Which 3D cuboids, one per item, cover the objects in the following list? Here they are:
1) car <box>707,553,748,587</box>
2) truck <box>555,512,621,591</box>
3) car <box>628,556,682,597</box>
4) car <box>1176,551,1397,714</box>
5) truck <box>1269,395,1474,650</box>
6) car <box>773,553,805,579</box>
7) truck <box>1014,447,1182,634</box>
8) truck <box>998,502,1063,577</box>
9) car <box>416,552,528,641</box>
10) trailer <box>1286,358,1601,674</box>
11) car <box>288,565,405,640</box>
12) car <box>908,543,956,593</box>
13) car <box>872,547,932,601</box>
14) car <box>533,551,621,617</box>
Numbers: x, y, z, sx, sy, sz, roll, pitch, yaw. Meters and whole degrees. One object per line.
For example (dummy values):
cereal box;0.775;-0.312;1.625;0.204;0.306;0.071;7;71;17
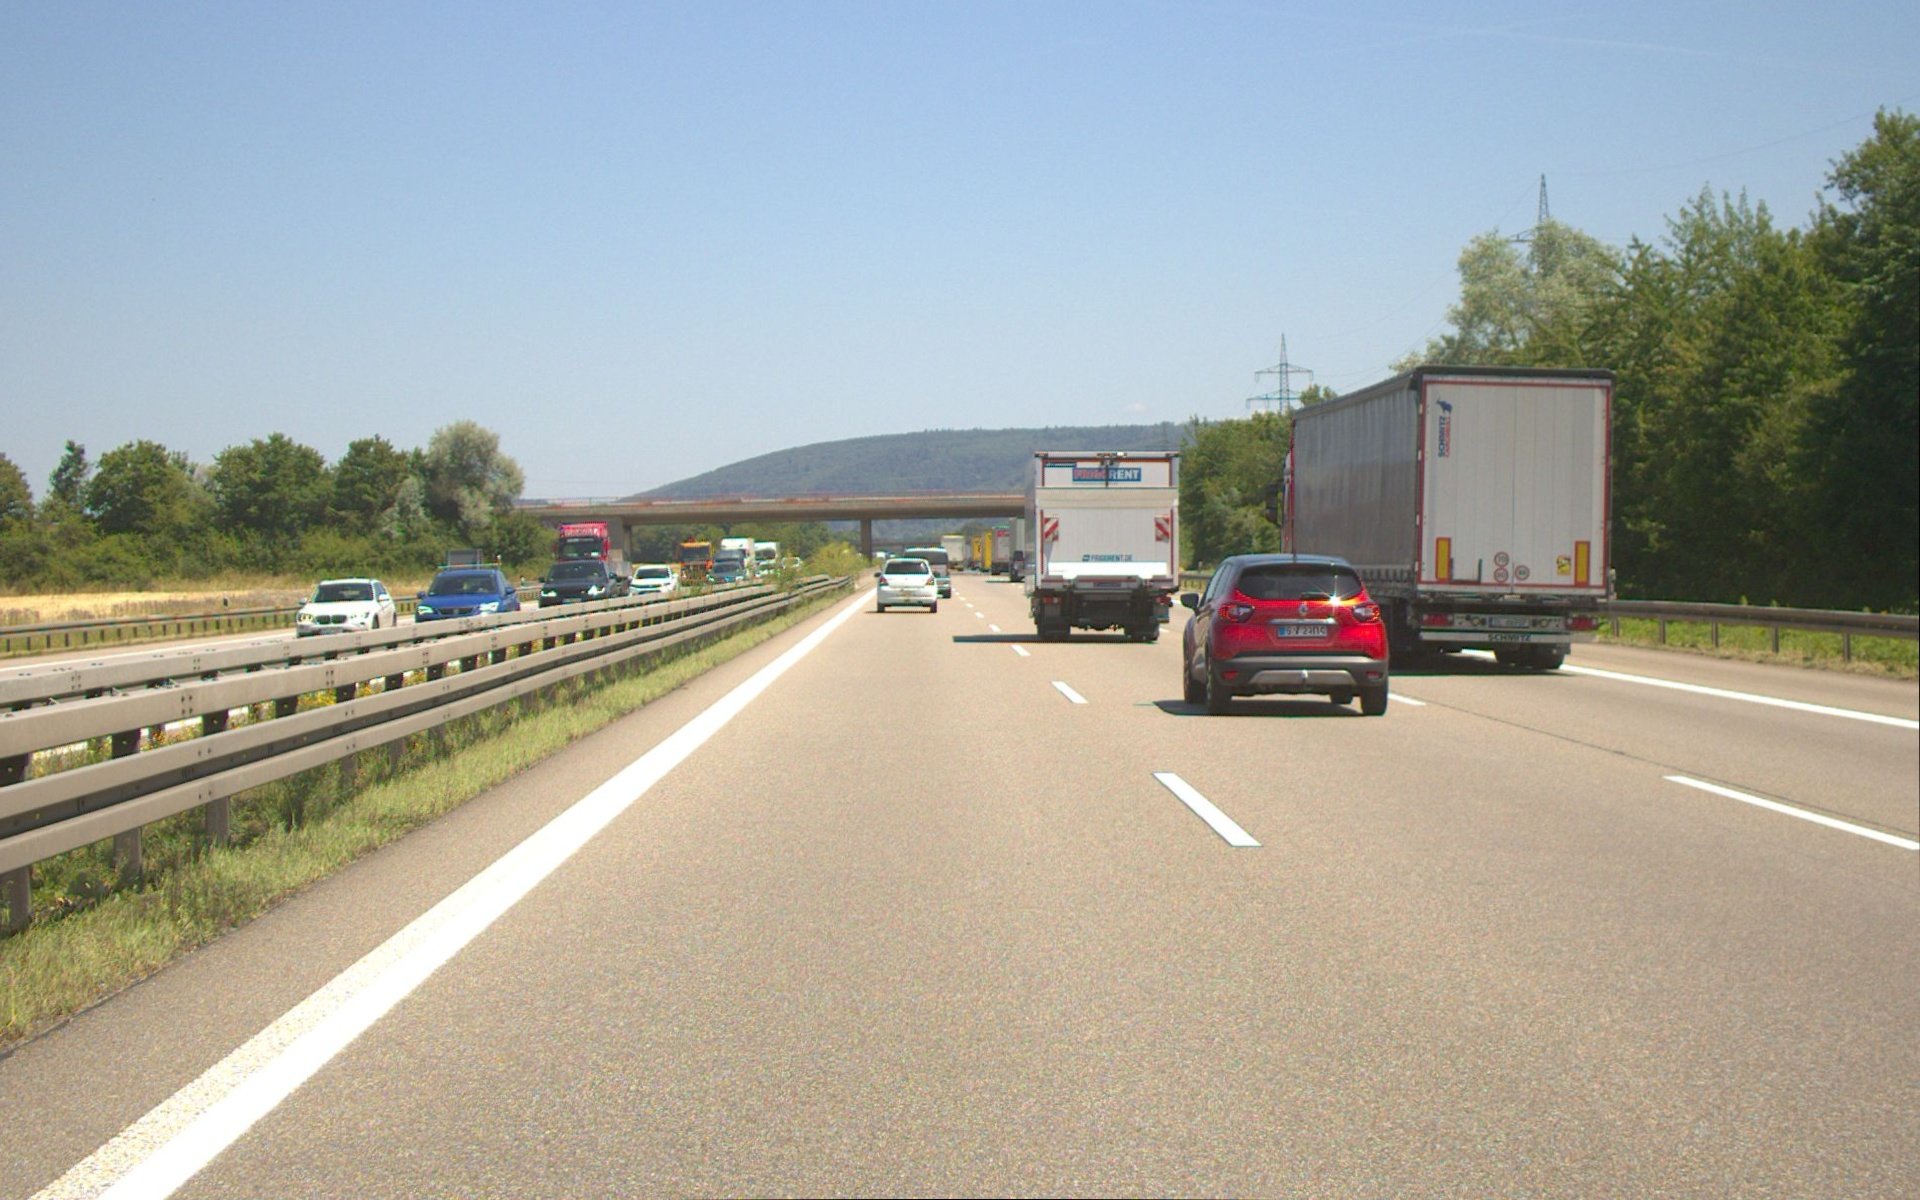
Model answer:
car;-11.696;-1.511;173.376;1.809;1.642;3.962;-2;1;-1
truck;-19.573;-2.568;181.262;2.760;4.000;5.751;-3;1;-1
car;-12.076;-0.949;136.253;1.809;1.531;3.962;-2;1;-1
car;3.215;0.278;34.542;1.803;1.540;4.000;0;1;-1
truck;6.982;-1.303;58.979;2.795;4.149;5.723;0;1;0
car;-10.872;-2.163;218.412;1.804;1.563;4.095;-2;1;-1
truck;2.557;-1.116;66.168;2.782;3.361;8.128;0;1;-1
truck;4.355;-3.750;215.058;3.520;4.401;14.592;-2;1;-1
car;-10.178;-0.101;71.893;1.767;1.744;3.986;-2;1;-1
trailer;7.014;-1.200;52.053;2.789;4.149;13.575;0;1;0
car;-13.848;0.032;77.838;1.879;1.561;4.192;-2;1;-1
car;-1.026;-1.220;129.292;1.761;1.844;4.000;-1;1;0
car;-1.618;-0.749;96.855;1.607;1.462;4.000;-1;1;0
car;-10.699;-0.473;96.326;1.959;1.766;4.443;-1;1;-1
